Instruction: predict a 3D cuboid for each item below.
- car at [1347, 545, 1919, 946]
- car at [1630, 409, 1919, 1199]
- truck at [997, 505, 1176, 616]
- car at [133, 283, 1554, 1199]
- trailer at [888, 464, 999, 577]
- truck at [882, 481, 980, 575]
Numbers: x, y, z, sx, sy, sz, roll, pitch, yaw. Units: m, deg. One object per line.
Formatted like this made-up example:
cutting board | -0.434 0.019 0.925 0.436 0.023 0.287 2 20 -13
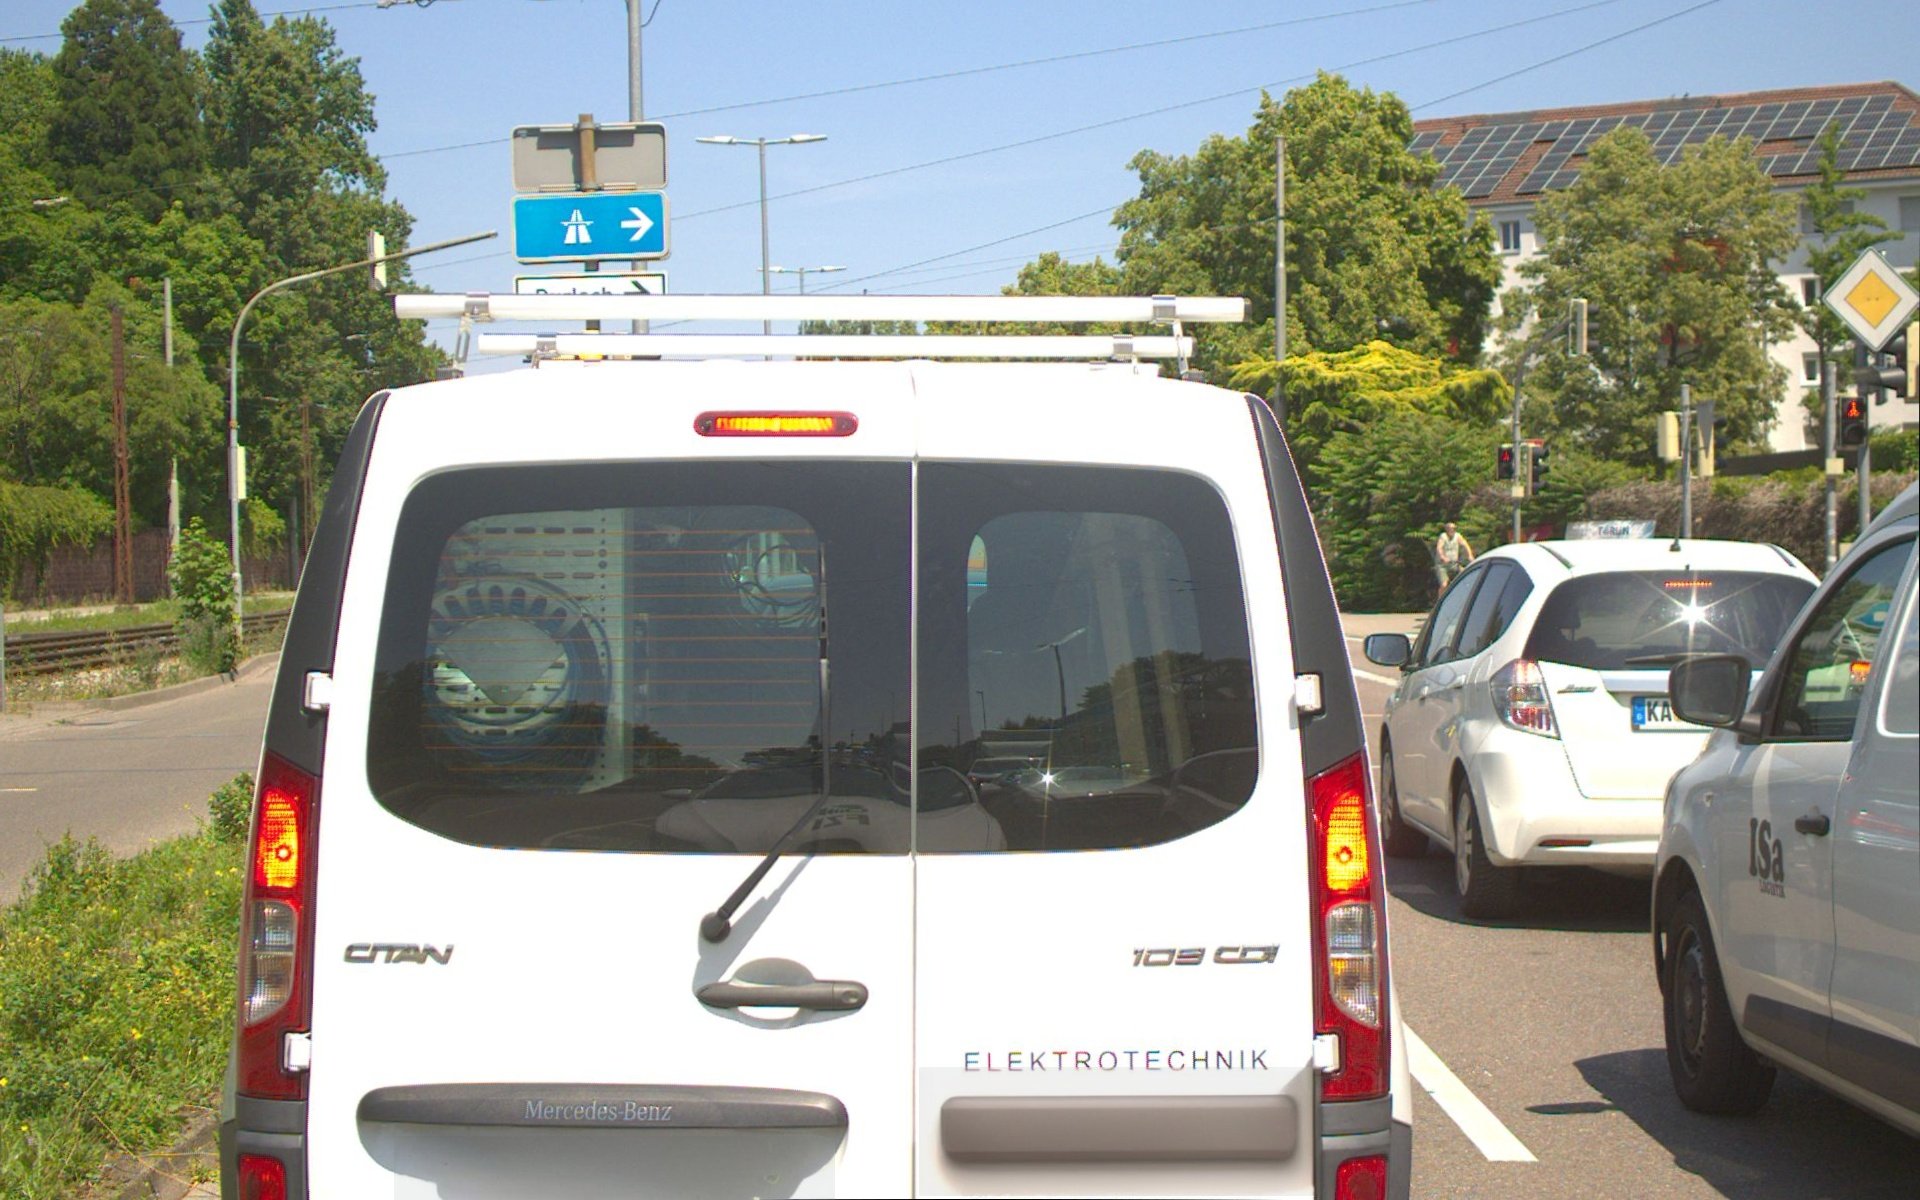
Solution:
car | 2.812 0.517 14.933 1.756 1.481 4.000 1 1 0
car | 2.776 0.513 7.522 1.710 1.824 4.014 0 1 -2
truck | 2.351 -0.771 66.226 2.298 2.007 6.729 -1 1 -8
car | -0.193 0.475 6.479 1.866 1.829 3.849 1 1 -1
trailer | -0.684 -2.965 128.929 3.527 4.037 8.979 -1 1 -4
truck | -1.242 -2.863 137.826 3.575 3.620 8.810 -1 1 -3
